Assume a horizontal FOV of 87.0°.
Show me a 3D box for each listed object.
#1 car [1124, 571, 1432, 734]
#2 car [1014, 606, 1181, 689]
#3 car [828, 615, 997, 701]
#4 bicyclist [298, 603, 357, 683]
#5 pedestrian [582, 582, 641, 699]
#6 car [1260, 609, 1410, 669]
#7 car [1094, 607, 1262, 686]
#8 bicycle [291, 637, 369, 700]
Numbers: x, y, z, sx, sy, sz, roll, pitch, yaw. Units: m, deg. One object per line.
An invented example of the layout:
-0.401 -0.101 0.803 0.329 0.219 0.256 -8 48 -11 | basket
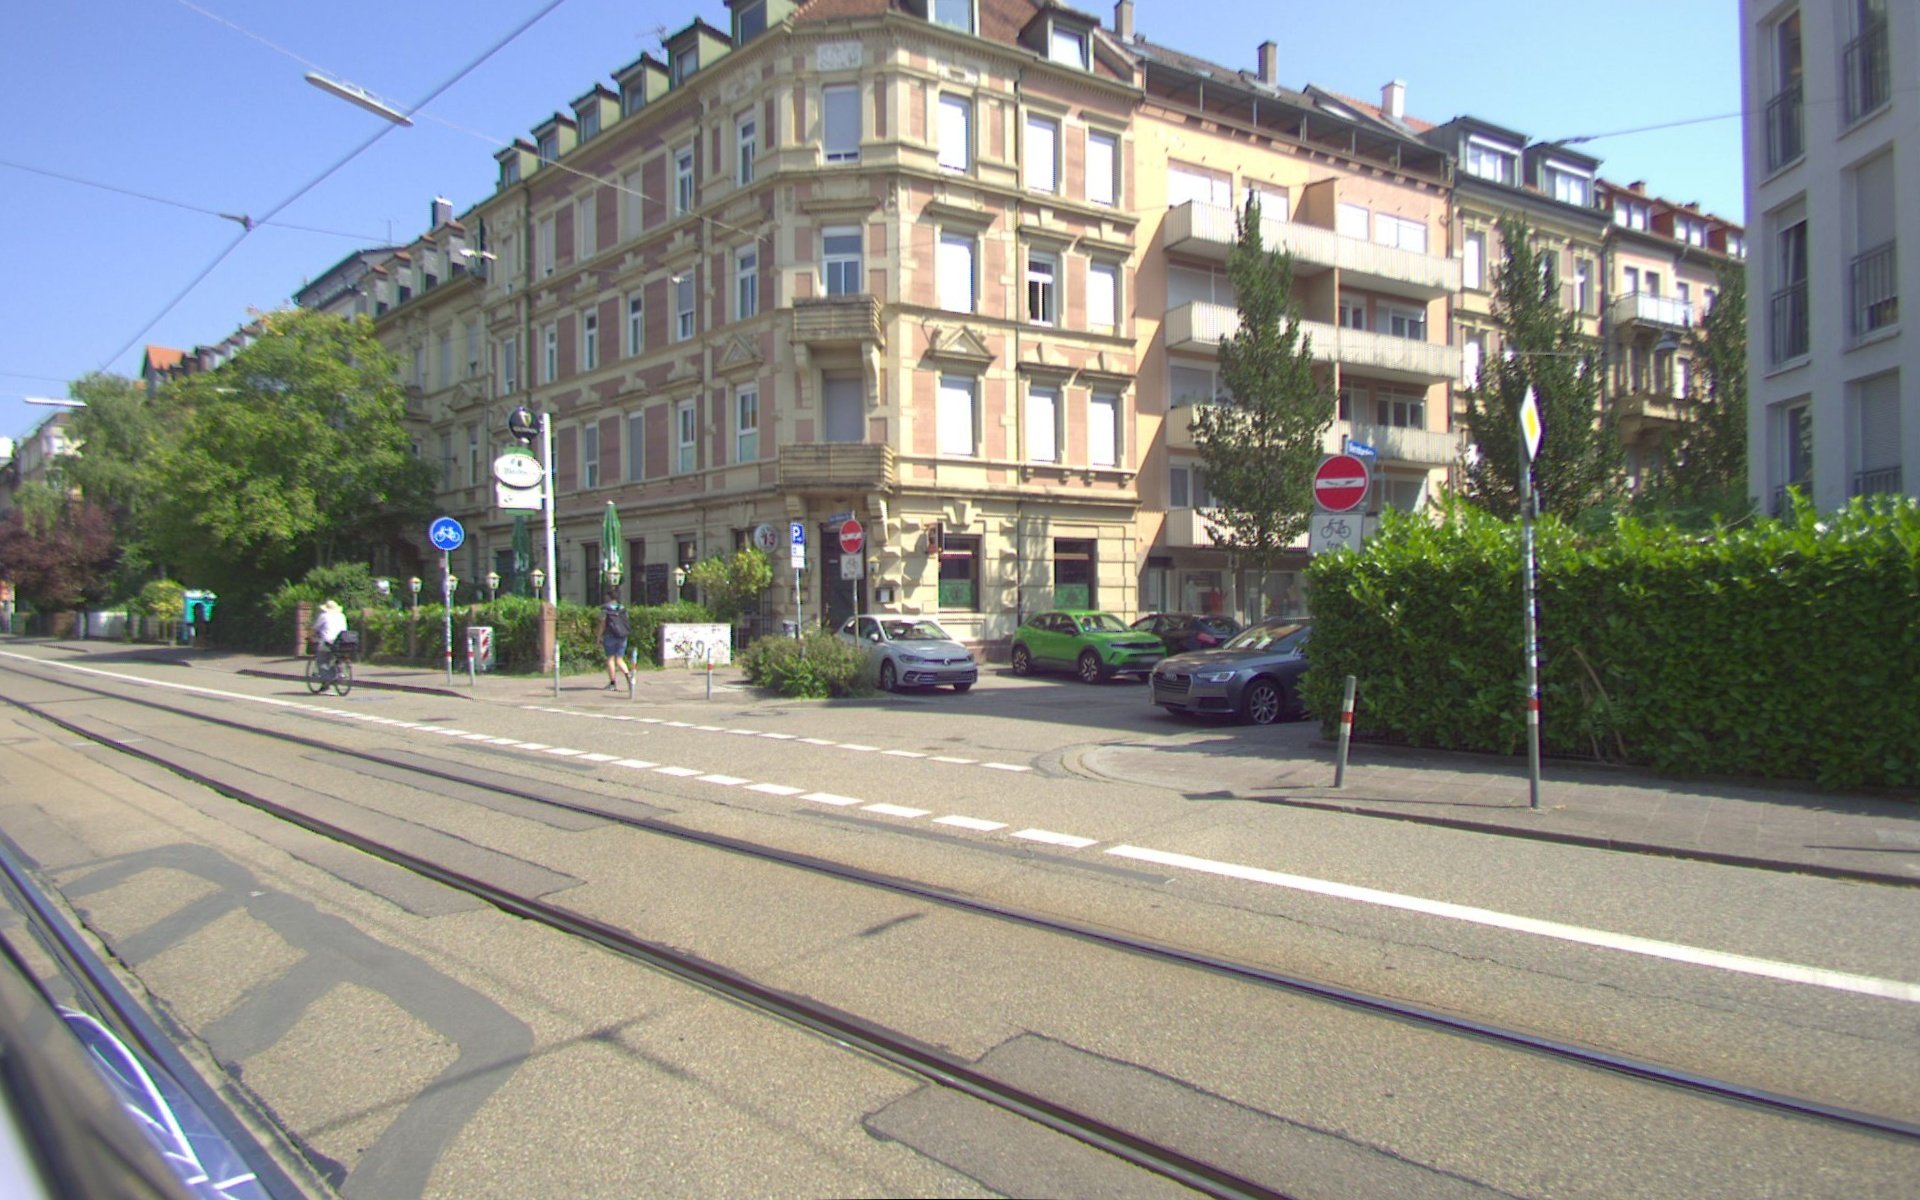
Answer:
4.492 0.624 14.248 3.931 2.003 1.897 -1 0 -28 | car
2.877 0.950 22.005 1.709 1.586 3.752 -1 0 -28 | car
-1.062 1.053 20.121 1.965 1.500 4.158 0 -1 -24 | car
-11.666 0.781 18.662 0.973 1.439 0.649 -1 -1 39 | bicyclist
-6.230 0.713 18.078 0.648 2.029 0.975 1 -1 -44 | pedestrian
10.207 1.021 27.772 1.709 1.467 3.620 -1 0 -28 | car
4.860 0.971 23.023 1.709 1.586 3.752 -1 0 -28 | car
-11.601 1.236 18.627 1.913 1.085 0.634 -1 -1 39 | bicycle
